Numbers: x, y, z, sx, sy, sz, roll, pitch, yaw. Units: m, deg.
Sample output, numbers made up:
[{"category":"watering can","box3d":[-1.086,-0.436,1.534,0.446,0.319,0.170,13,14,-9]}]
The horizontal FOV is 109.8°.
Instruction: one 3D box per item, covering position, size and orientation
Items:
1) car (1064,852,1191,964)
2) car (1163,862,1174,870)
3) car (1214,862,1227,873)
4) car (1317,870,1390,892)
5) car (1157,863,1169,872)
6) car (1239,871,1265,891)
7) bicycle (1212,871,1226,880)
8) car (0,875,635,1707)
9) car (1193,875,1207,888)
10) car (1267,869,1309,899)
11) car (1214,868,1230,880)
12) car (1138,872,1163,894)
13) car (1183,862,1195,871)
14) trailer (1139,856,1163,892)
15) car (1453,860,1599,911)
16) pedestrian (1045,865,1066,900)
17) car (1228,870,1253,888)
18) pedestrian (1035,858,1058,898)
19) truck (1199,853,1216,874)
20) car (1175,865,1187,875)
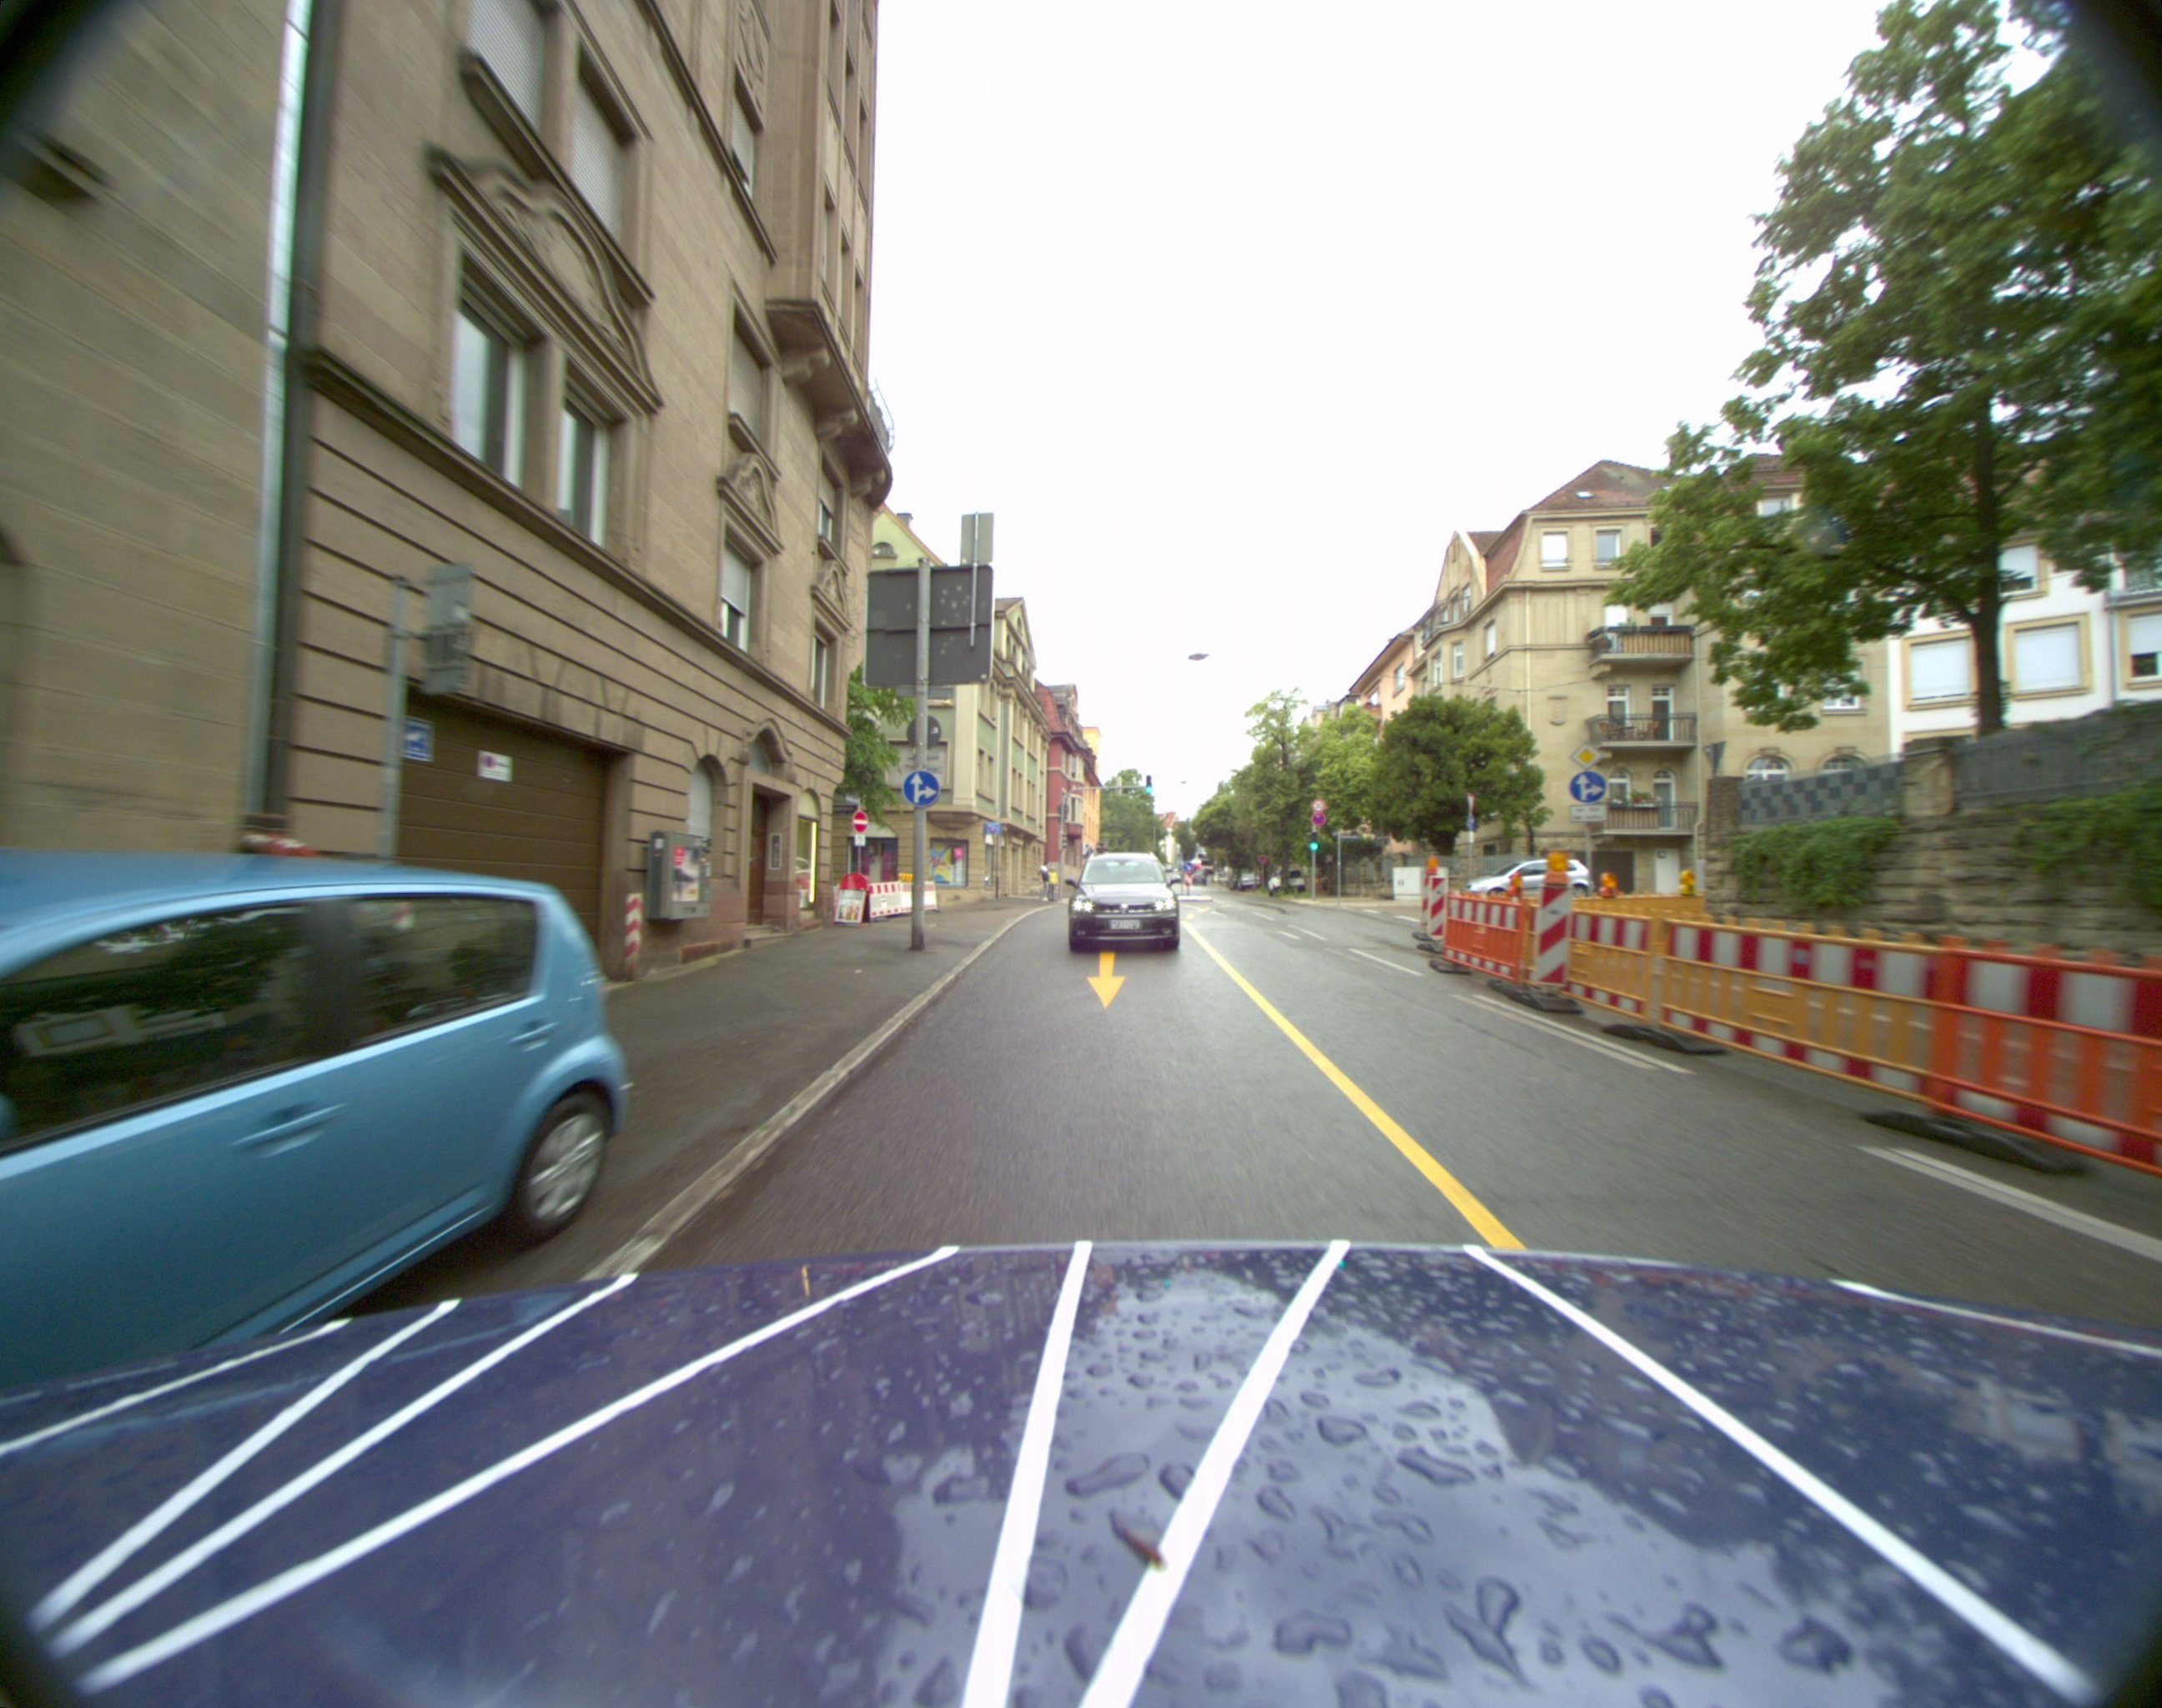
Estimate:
[{"category":"car","box3d":[0.837,0.841,13.725,1.859,1.641,5.197,0,-1,3]},{"category":"car","box3d":[18.211,2.487,157.698,1.923,1.552,4.016,3,0,11]},{"category":"car","box3d":[24.449,2.367,133.140,1.999,1.586,3.831,-4,0,12]},{"category":"car","box3d":[16.896,1.694,47.280,3.995,1.318,1.838,0,-1,6]},{"category":"car","box3d":[15.952,2.614,148.247,1.923,1.552,4.015,3,1,11]},{"category":"car","box3d":[14.723,2.316,65.528,1.745,1.550,4.305,-2,0,7]},{"category":"bicycle","box3d":[20.174,3.128,110.885,1.979,1.228,0.658,0,0,7]},{"category":"car","box3d":[-2.934,0.897,1.711,1.661,1.534,3.665,2,0,0]},{"category":"car","box3d":[15.485,3.650,99.116,1.818,1.508,4.554,1,-3,8]},{"category":"car","box3d":[12.009,1.689,44.250,1.745,1.550,4.305,-2,0,7]},{"category":"car","box3d":[20.052,2.772,107.901,1.745,1.550,4.304,-2,0,5]},{"category":"car","box3d":[5.762,2.376,63.095,1.924,1.641,4.137,-2,-1,6]},{"category":"car","box3d":[20.220,2.349,141.893,1.714,1.471,4.118,2,0,13]},{"category":"trailer","box3d":[6.094,1.711,66.284,1.966,3.023,2.366,-2,0,6]},{"category":"car","box3d":[15.082,1.064,25.967,3.869,1.401,1.827,-4,1,12]},{"category":"pedestrian","box3d":[-1.160,1.286,34.811,0.663,1.575,0.600,1,-1,45]},{"category":"car","box3d":[15.483,2.426,73.799,1.745,1.550,4.304,-3,-1,4]},{"category":"pedestrian","box3d":[-1.536,1.094,34.126,0.663,1.763,0.722,1,-1,41]},{"category":"truck","box3d":[24.567,1.826,148.188,2.653,3.832,9.313,2,-1,6]},{"category":"car","box3d":[15.876,2.503,120.647,1.775,1.508,4.103,0,0,10]}]
